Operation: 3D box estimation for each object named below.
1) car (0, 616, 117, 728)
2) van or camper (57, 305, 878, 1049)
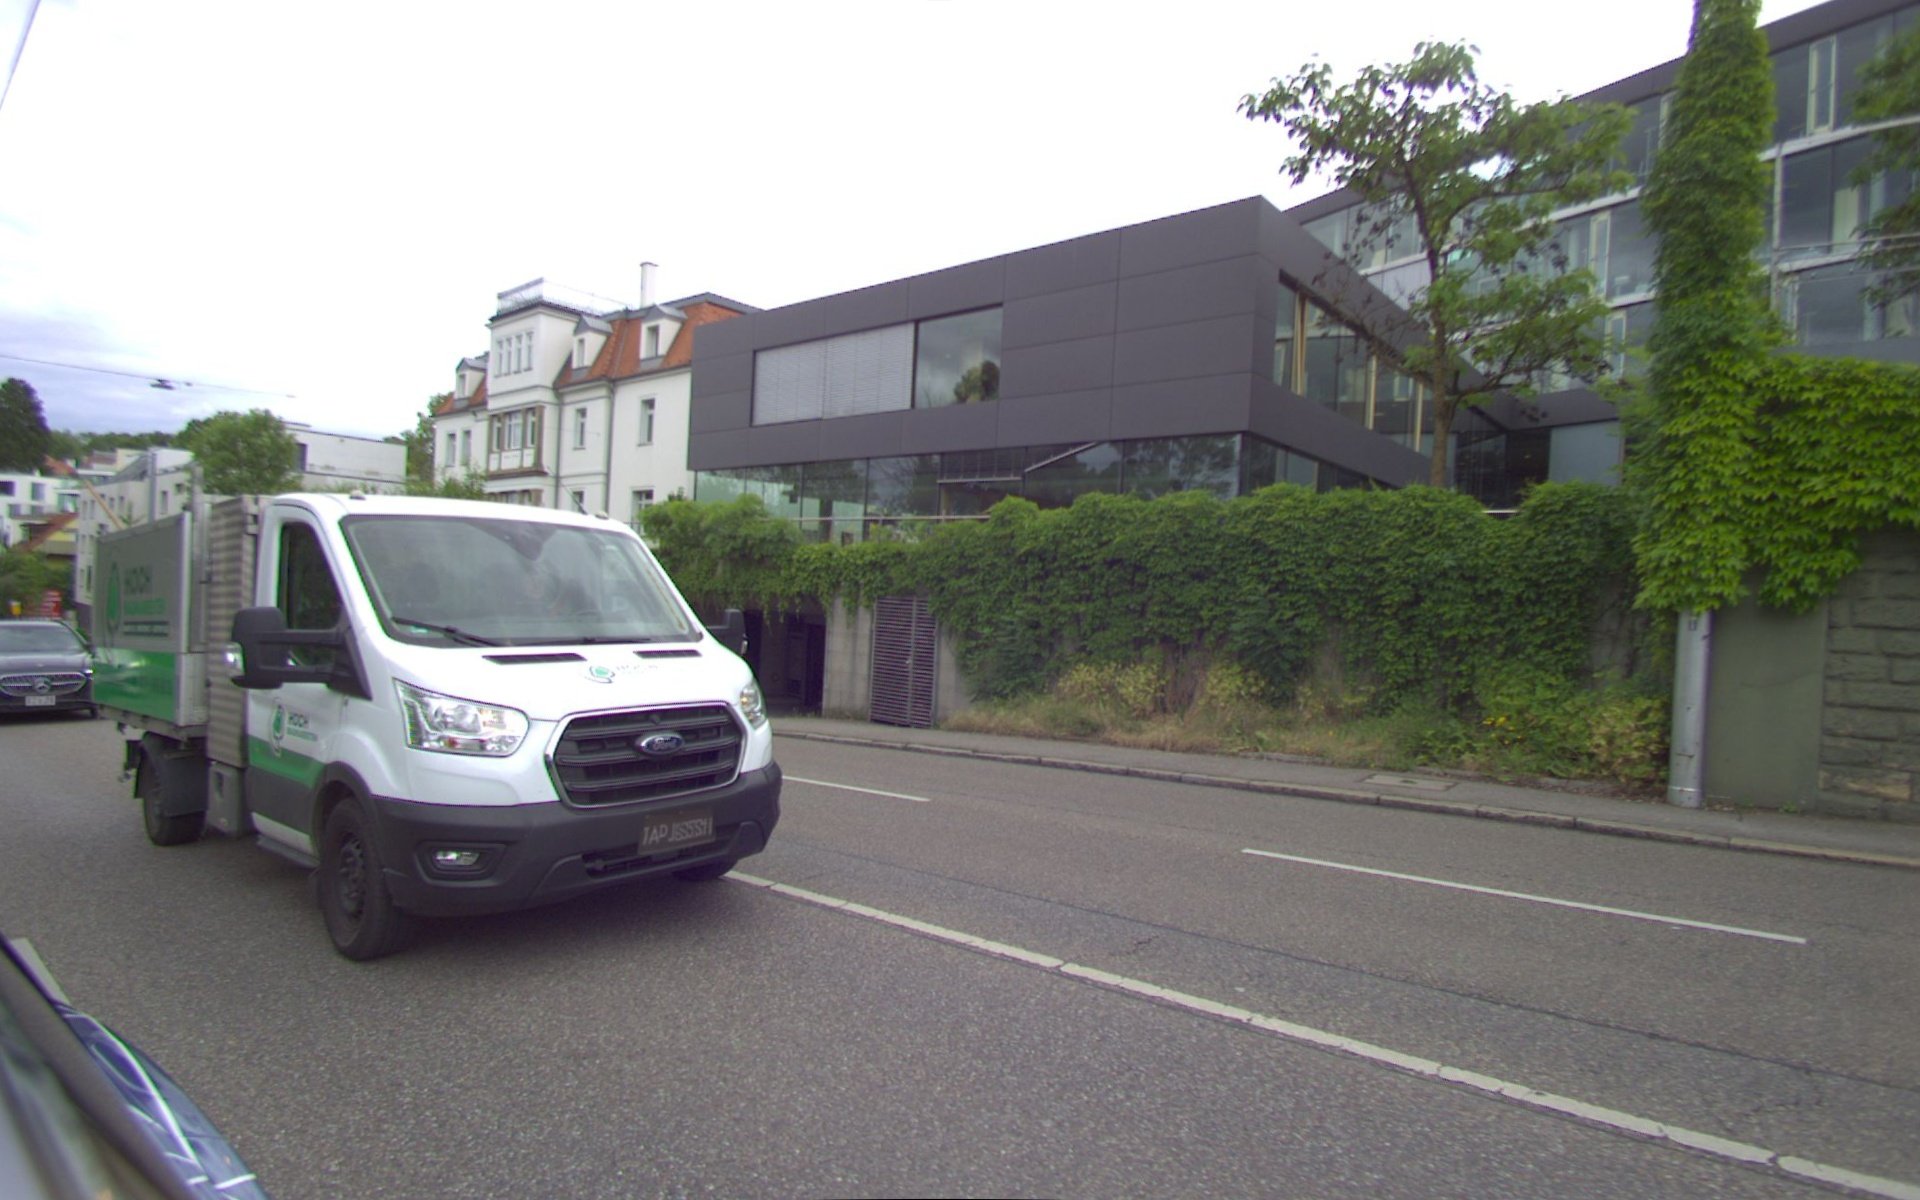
[{"bbox_3d":[-14.614,1.019,15.578,4.333,1.541,1.854,-1,-2,41],"label":"car"},{"bbox_3d":[-3.507,0.215,6.421,5.957,2.682,2.321,2,1,38],"label":"van or camper"}]
